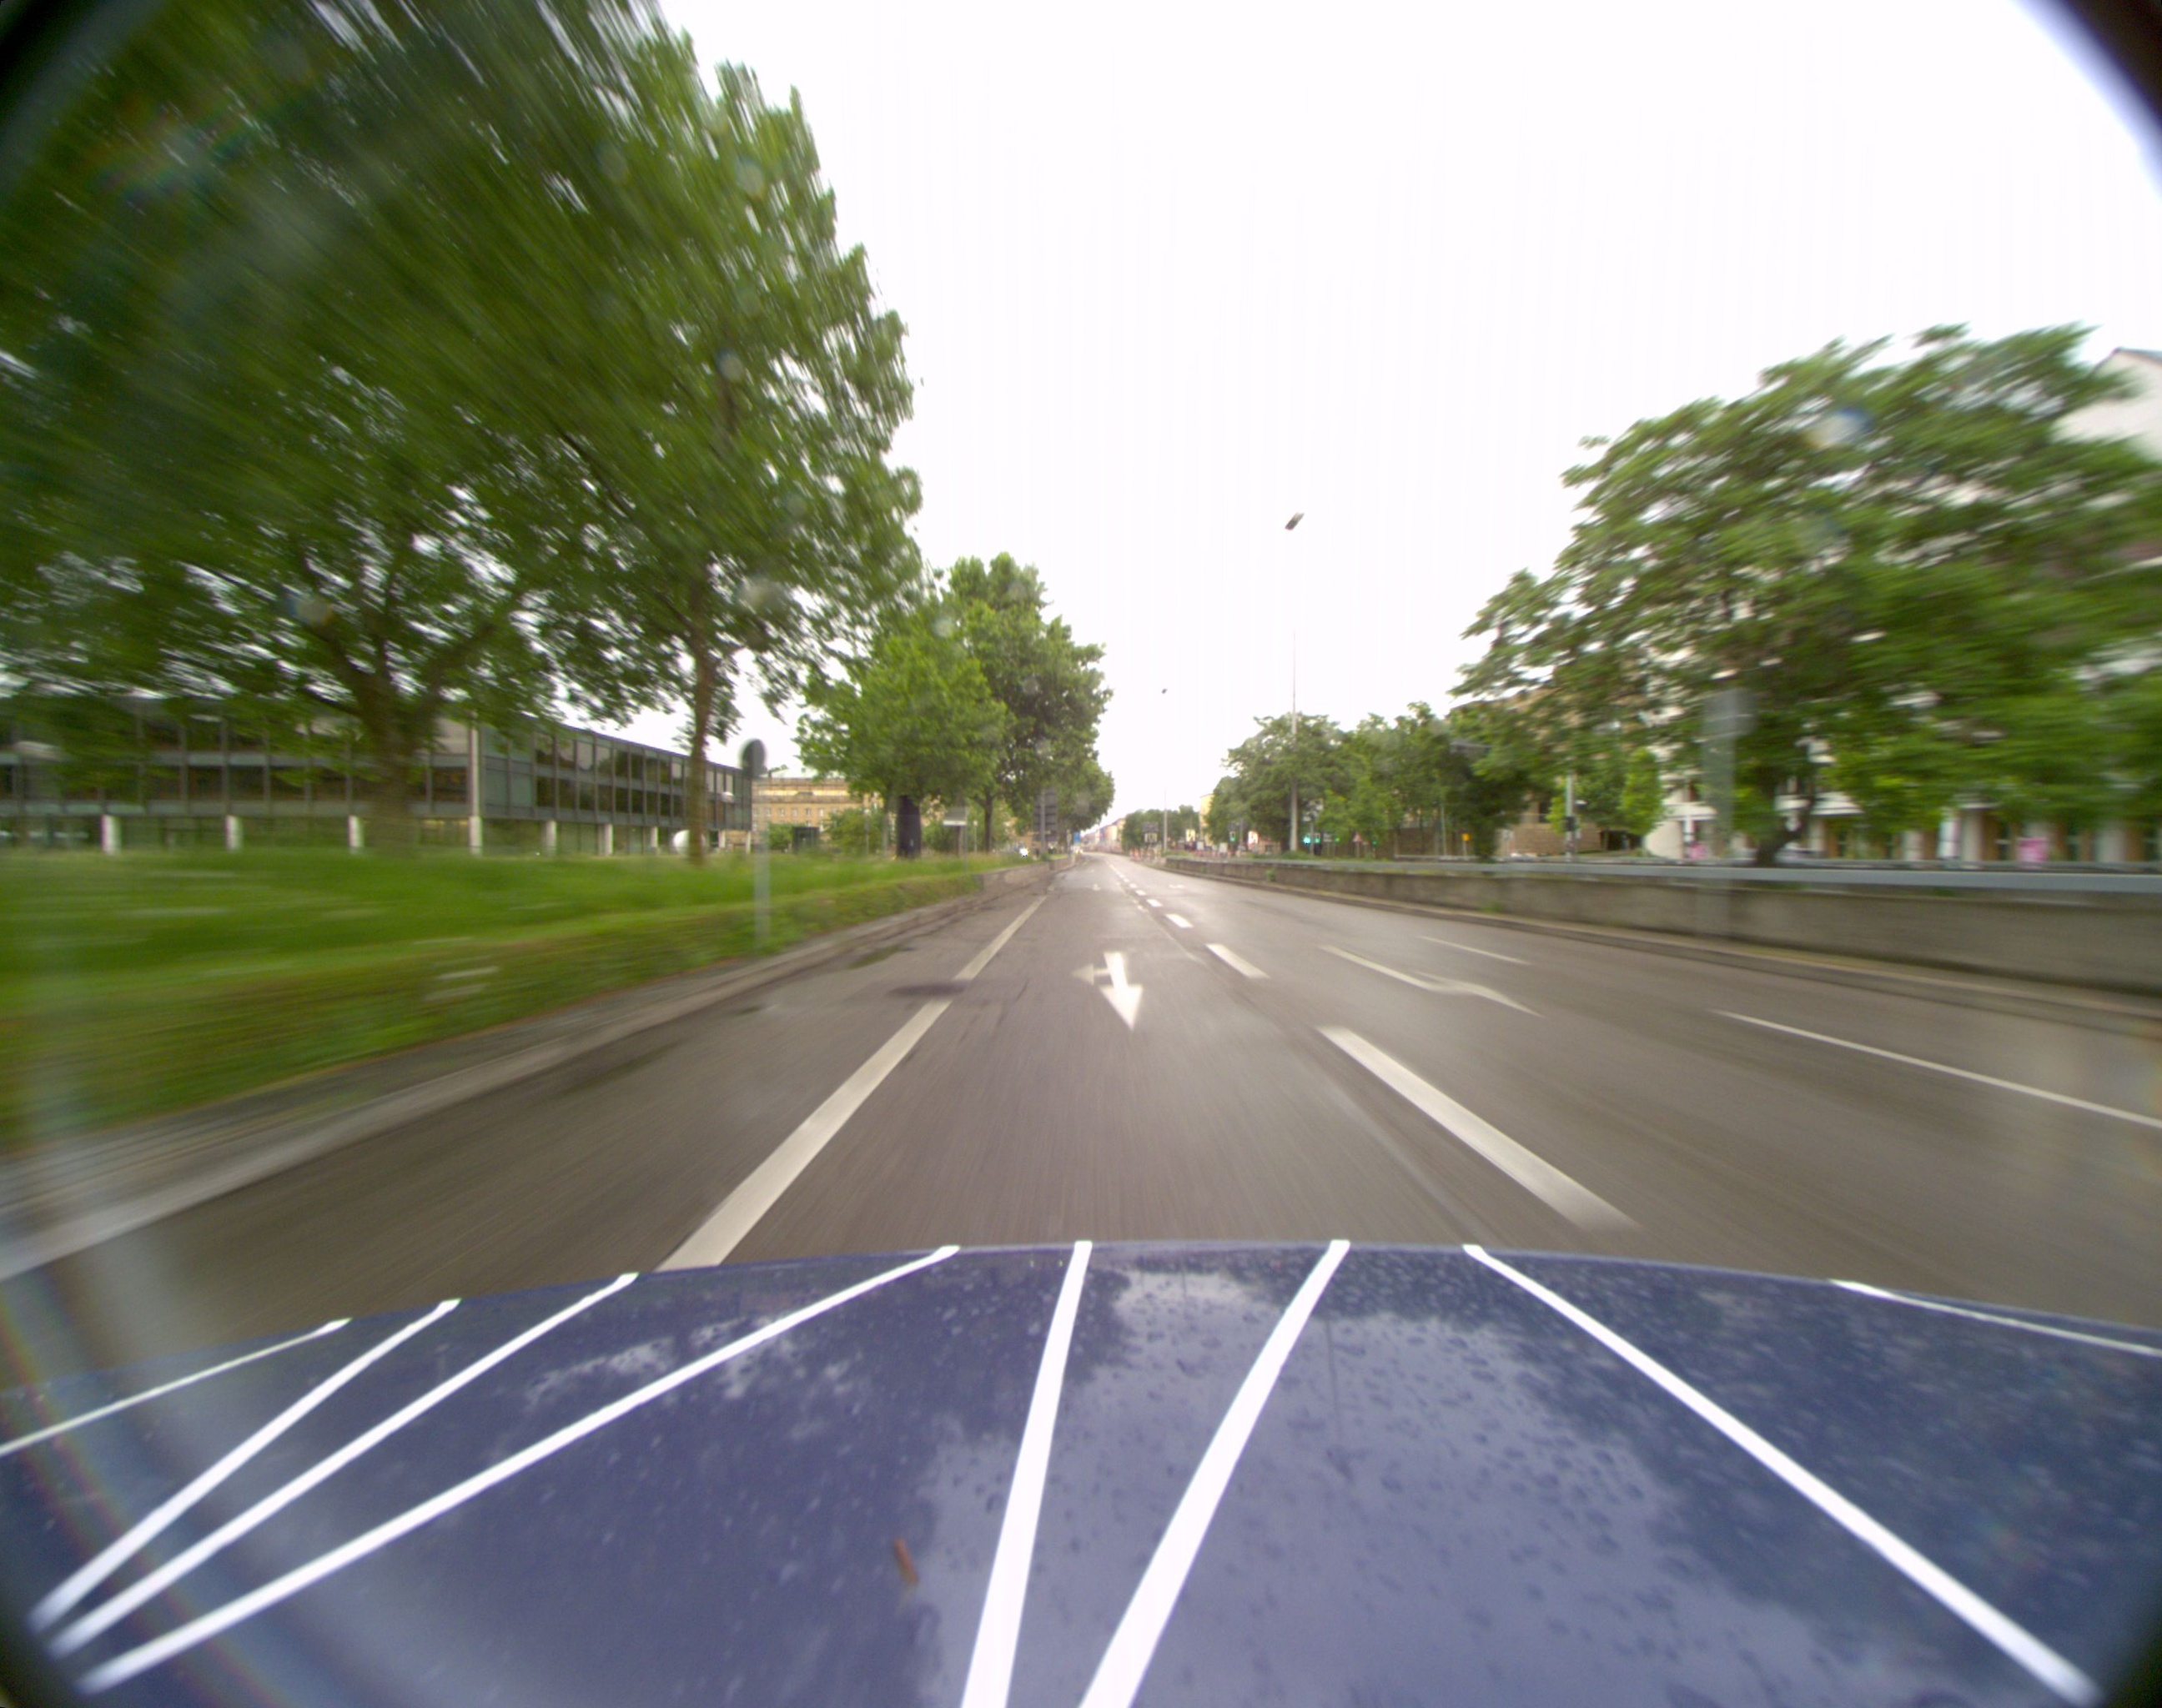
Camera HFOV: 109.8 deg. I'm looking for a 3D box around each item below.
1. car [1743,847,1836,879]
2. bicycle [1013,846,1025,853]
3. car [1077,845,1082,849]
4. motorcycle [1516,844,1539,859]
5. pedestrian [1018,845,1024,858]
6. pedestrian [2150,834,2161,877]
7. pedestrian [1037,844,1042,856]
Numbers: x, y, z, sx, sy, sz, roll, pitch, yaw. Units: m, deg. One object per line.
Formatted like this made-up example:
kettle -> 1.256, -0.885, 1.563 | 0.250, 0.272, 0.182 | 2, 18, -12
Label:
car -> 30.595, 0.347, 32.899 | 1.298, 1.270, 2.821 | -2, 1, -5
bicycle -> -9.897, -0.781, 121.958 | 1.758, 1.059, 0.827 | -2, 2, -20
car -> -0.446, -2.004, 229.004 | 1.517, 1.138, 2.761 | -1, 1, 3
motorcycle -> 37.982, -0.226, 64.633 | 1.817, 1.175, 0.606 | -2, 2, -14
pedestrian -> -7.764, -0.364, 97.659 | 0.671, 1.656, 0.587 | 0, 2, -16
pedestrian -> 46.912, 0.059, 32.783 | 0.738, 1.848, 0.703 | 0, 2, 42
pedestrian -> -5.691, -0.553, 104.783 | 0.594, 1.764, 0.587 | -1, 2, 0
